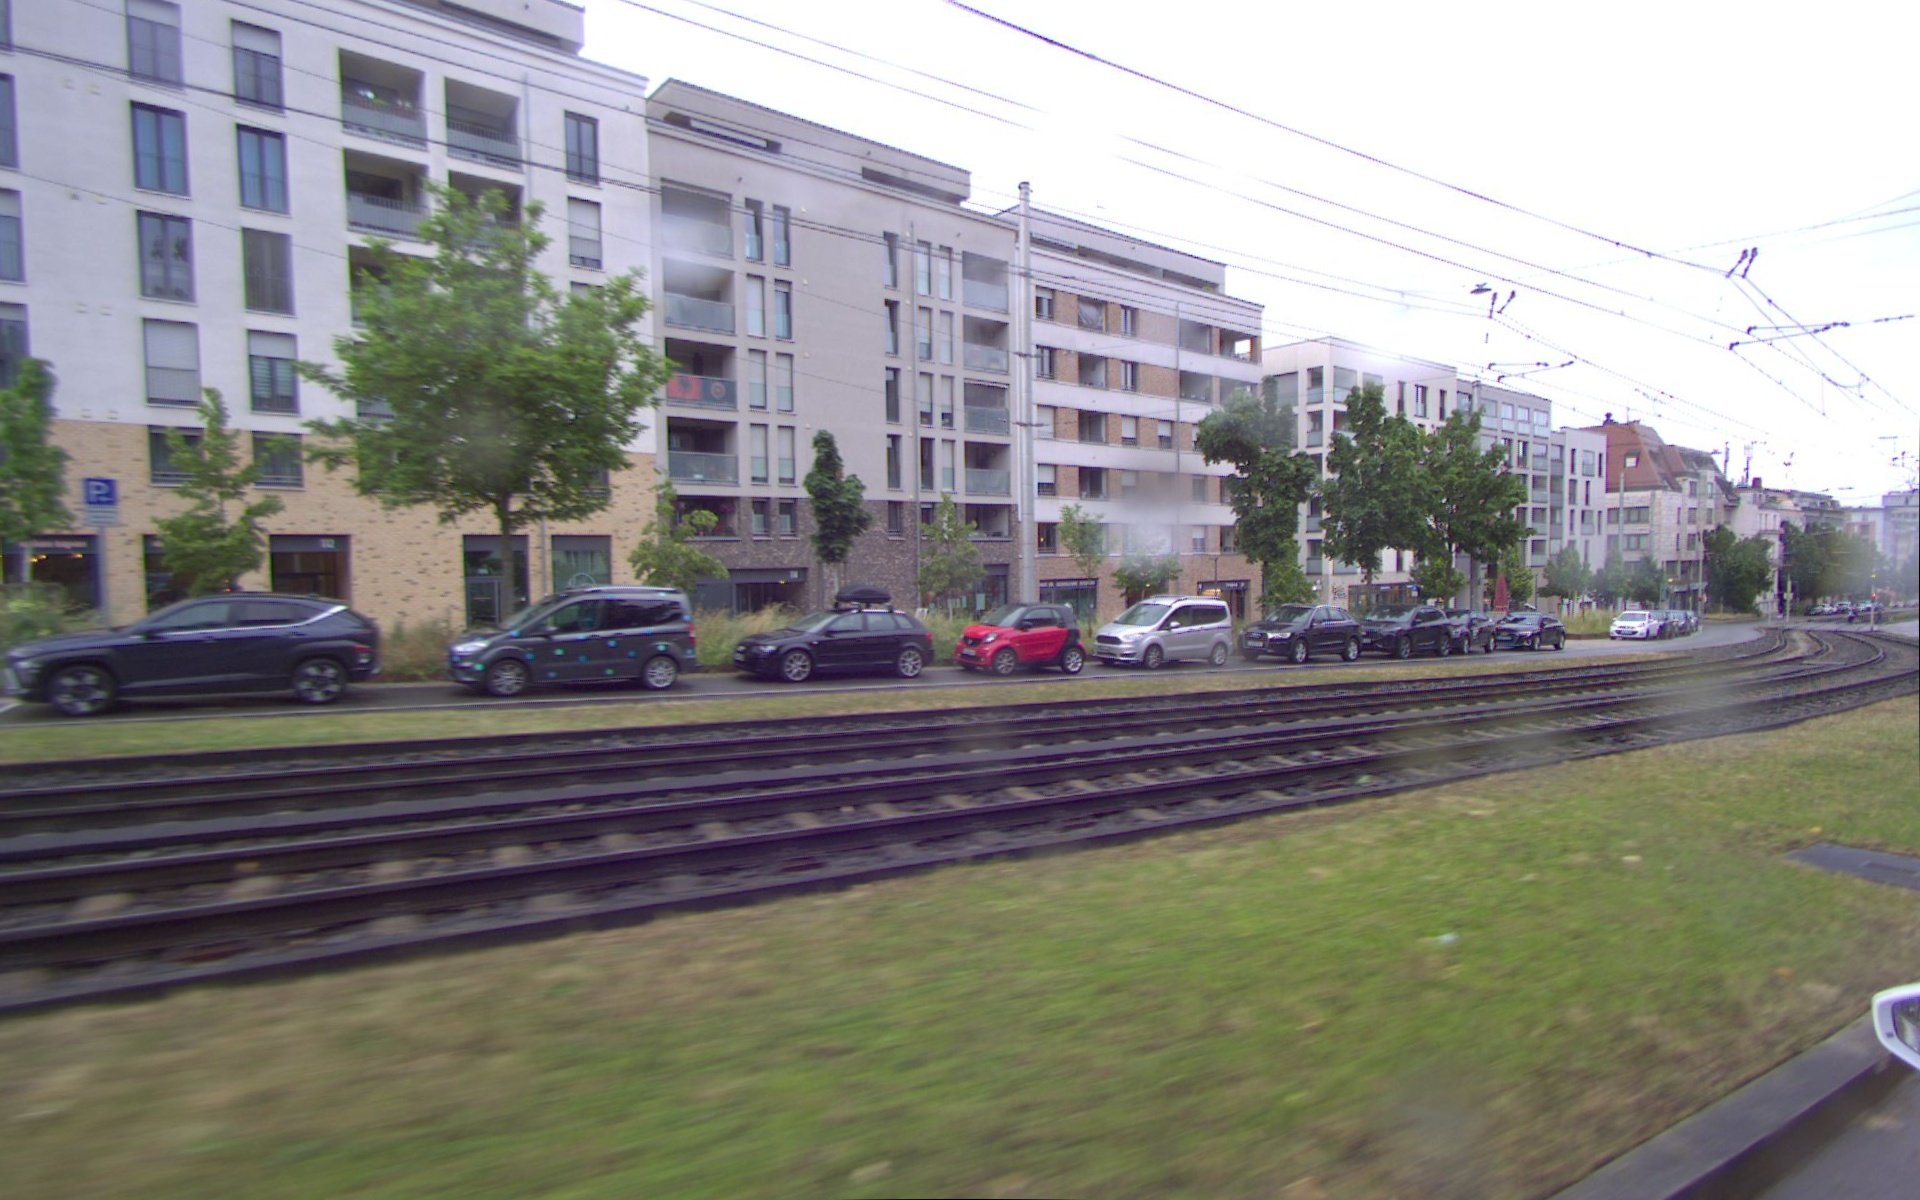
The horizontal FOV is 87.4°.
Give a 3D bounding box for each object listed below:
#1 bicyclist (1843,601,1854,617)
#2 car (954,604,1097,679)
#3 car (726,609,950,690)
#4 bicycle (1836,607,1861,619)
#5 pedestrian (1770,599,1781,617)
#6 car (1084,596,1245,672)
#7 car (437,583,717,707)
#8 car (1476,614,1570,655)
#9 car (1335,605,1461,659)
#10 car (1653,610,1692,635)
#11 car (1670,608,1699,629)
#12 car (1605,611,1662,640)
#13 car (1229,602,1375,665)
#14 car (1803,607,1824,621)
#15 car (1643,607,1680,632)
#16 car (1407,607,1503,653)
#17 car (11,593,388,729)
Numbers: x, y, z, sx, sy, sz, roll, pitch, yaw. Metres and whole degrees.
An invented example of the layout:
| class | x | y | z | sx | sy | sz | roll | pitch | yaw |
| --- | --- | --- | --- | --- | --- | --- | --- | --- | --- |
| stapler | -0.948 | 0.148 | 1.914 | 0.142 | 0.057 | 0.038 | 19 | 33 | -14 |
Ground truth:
| class | x | y | z | sx | sy | sz | roll | pitch | yaw |
| --- | --- | --- | --- | --- | --- | --- | --- | --- | --- |
| bicyclist | 88.709 | 0.935 | 100.328 | 0.688 | 1.595 | 0.462 | 1 | 1 | 22 |
| car | 1.478 | 0.890 | 22.712 | 2.896 | 1.552 | 1.462 | 0 | 2 | -30 |
| car | -2.431 | 0.935 | 20.549 | 4.353 | 1.467 | 1.541 | 0 | 1 | -34 |
| bicycle | 88.715 | 1.289 | 100.327 | 1.767 | 1.078 | 0.457 | 1 | 1 | 21 |
| pedestrian | 88.974 | 0.834 | 109.579 | 0.893 | 1.957 | 0.822 | 1 | 1 | 36 |
| car | 5.270 | 0.807 | 25.647 | 4.217 | 1.771 | 1.651 | 0 | 0 | -37 |
| car | -6.546 | 0.686 | 17.356 | 4.288 | 1.884 | 1.571 | 0 | 2 | -34 |
| car | 22.026 | 1.295 | 39.226 | 4.167 | 1.450 | 1.948 | 0 | 1 | -42 |
| car | 14.060 | 0.969 | 32.144 | 4.659 | 1.605 | 1.788 | 0 | 1 | -40 |
| car | 45.608 | 1.404 | 64.307 | 1.699 | 1.533 | 4.297 | 0 | -1 | 40 |
| car | 54.799 | 1.380 | 75.979 | 1.749 | 1.524 | 4.069 | 0 | -1 | 36 |
| car | 35.761 | 1.332 | 53.330 | 3.708 | 1.499 | 1.749 | 0 | -1 | -43 |
| car | 9.849 | 0.897 | 28.798 | 4.489 | 1.666 | 1.719 | 0 | 1 | -37 |
| car | 121.765 | 1.985 | 143.276 | 1.973 | 2.040 | 3.975 | 1 | 0 | 44 |
| car | 42.271 | 1.133 | 60.526 | 1.531 | 1.454 | 3.434 | 0 | -1 | 40 |
| car | 17.658 | 1.031 | 35.761 | 4.228 | 1.509 | 1.720 | 0 | 1 | -44 |
| car | -10.857 | 0.784 | 14.758 | 4.170 | 1.626 | 1.981 | 0 | 3 | -34 |
